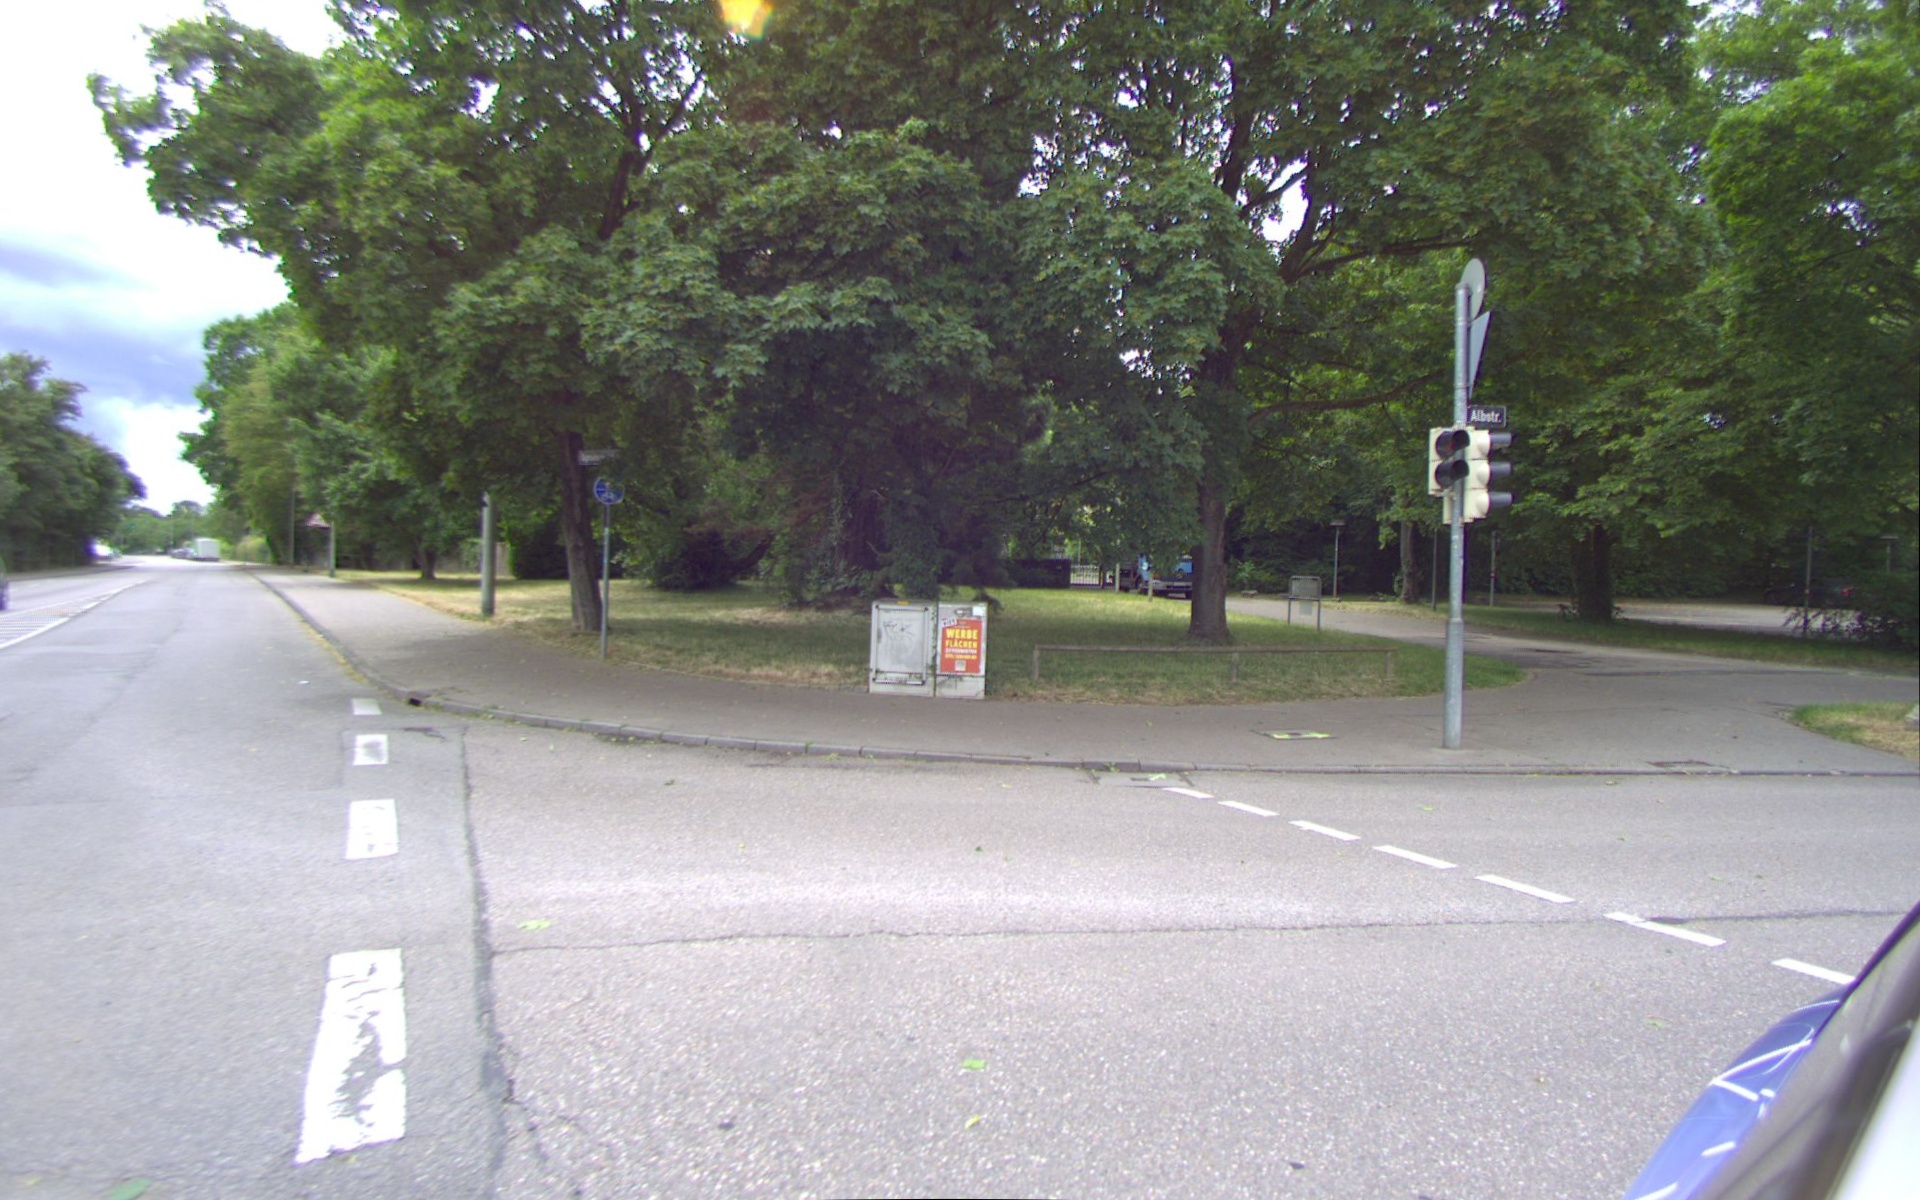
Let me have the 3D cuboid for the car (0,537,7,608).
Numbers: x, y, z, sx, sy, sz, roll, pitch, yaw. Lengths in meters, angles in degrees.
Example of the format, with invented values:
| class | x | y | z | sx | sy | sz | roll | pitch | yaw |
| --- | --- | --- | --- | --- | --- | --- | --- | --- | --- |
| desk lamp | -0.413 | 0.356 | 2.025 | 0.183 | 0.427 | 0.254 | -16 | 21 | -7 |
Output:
| class | x | y | z | sx | sy | sz | roll | pitch | yaw |
| --- | --- | --- | --- | --- | --- | --- | --- | --- | --- |
| car | -21.097 | -0.544 | 20.814 | 1.748 | 1.537 | 3.558 | -1 | 3 | -36 |

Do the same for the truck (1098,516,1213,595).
| class | x | y | z | sx | sy | sz | roll | pitch | yaw |
| --- | --- | --- | --- | --- | --- | --- | --- | --- | --- |
| truck | 7.813 | -1.763 | 41.502 | 2.433 | 2.882 | 7.444 | 2 | 1 | -6 |
